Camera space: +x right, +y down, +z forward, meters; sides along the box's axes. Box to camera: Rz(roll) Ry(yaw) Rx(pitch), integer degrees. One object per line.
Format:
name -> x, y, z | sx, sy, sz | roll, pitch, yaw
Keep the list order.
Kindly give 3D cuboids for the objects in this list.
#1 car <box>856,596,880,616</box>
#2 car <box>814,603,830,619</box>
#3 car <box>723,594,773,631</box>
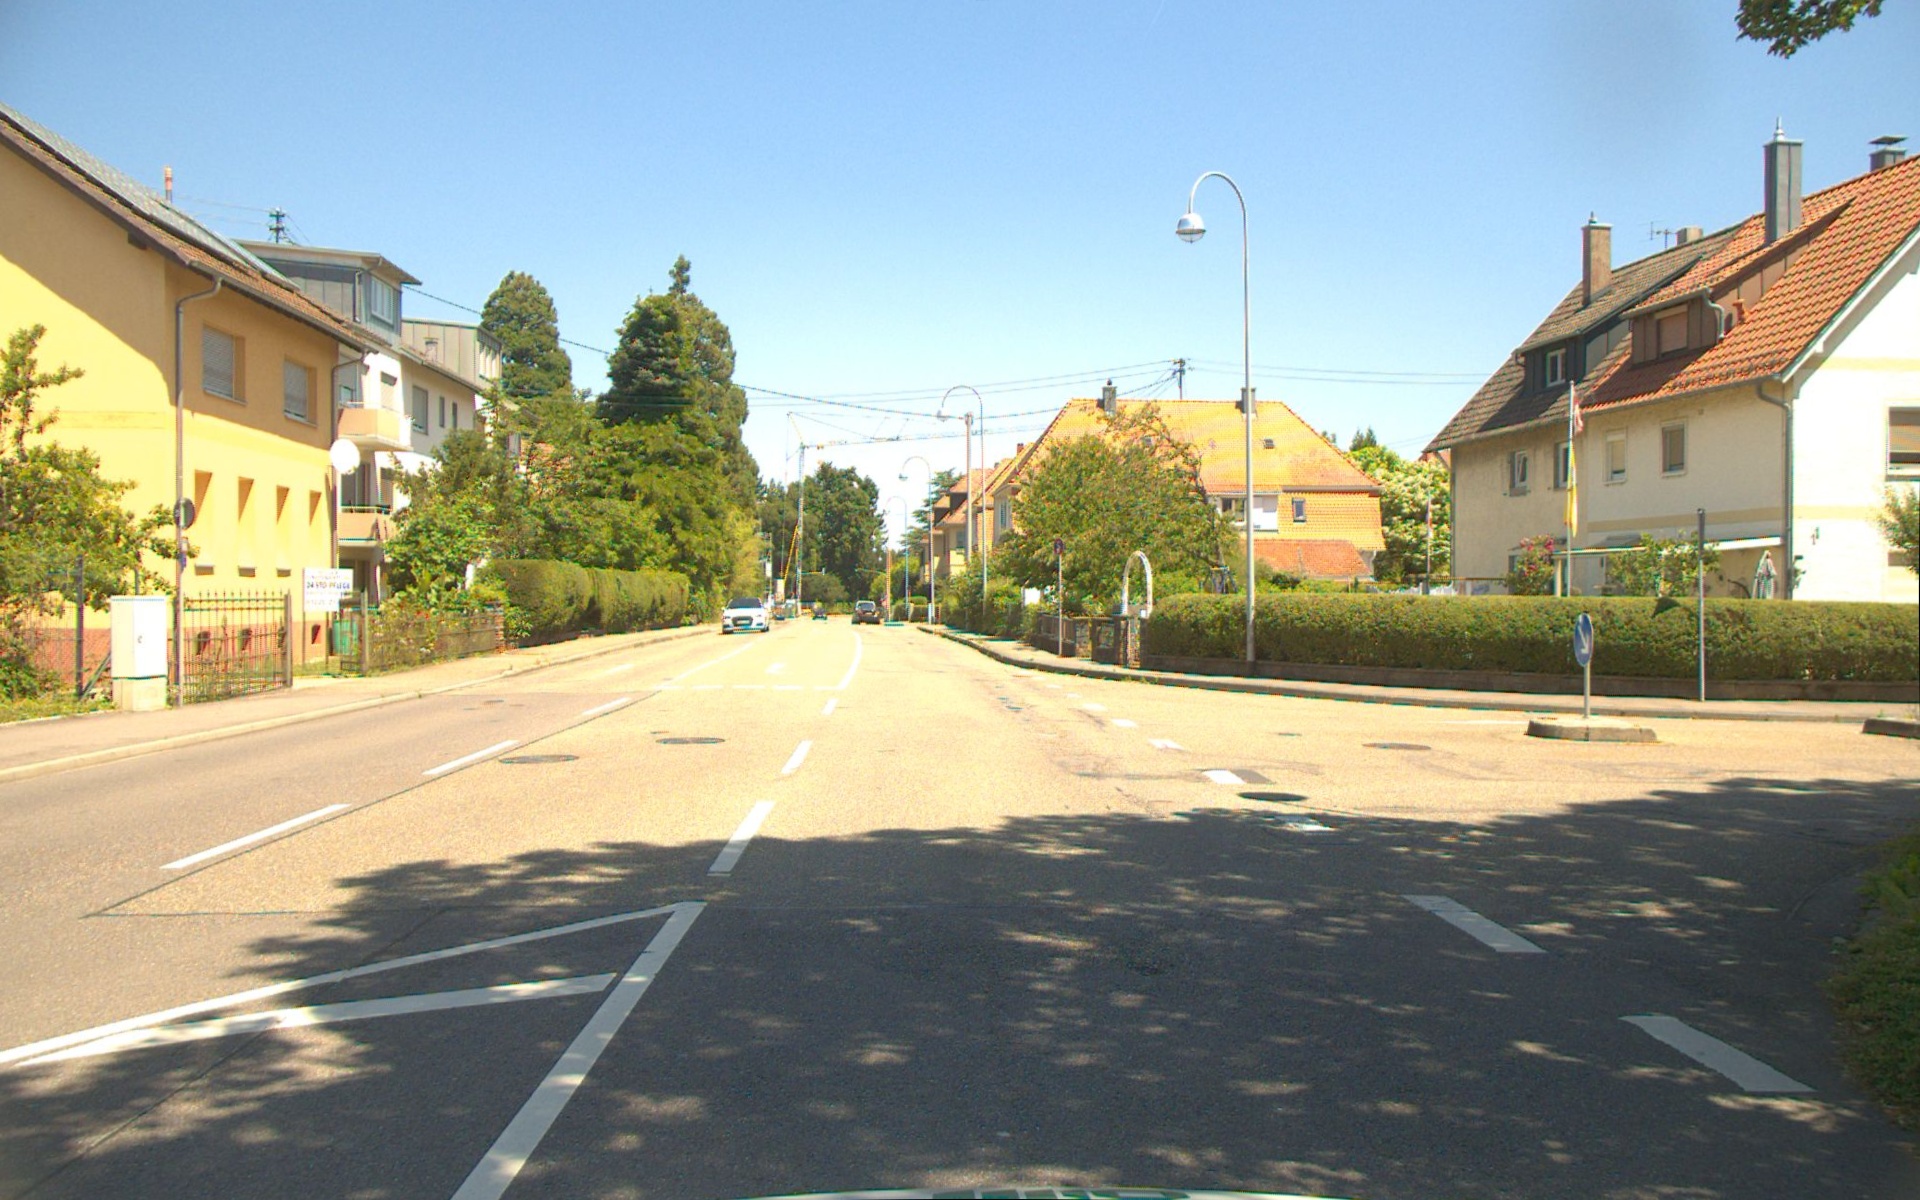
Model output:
car -> -6.881, 0.466, 123.393 | 1.660, 1.444, 4.545 | 0, -1, -5
car -> -17.782, 1.363, 213.118 | 1.955, 1.882, 4.706 | 0, 2, -5
car -> -8.574, 0.498, 67.049 | 1.647, 1.396, 4.204 | -1, 0, -3
